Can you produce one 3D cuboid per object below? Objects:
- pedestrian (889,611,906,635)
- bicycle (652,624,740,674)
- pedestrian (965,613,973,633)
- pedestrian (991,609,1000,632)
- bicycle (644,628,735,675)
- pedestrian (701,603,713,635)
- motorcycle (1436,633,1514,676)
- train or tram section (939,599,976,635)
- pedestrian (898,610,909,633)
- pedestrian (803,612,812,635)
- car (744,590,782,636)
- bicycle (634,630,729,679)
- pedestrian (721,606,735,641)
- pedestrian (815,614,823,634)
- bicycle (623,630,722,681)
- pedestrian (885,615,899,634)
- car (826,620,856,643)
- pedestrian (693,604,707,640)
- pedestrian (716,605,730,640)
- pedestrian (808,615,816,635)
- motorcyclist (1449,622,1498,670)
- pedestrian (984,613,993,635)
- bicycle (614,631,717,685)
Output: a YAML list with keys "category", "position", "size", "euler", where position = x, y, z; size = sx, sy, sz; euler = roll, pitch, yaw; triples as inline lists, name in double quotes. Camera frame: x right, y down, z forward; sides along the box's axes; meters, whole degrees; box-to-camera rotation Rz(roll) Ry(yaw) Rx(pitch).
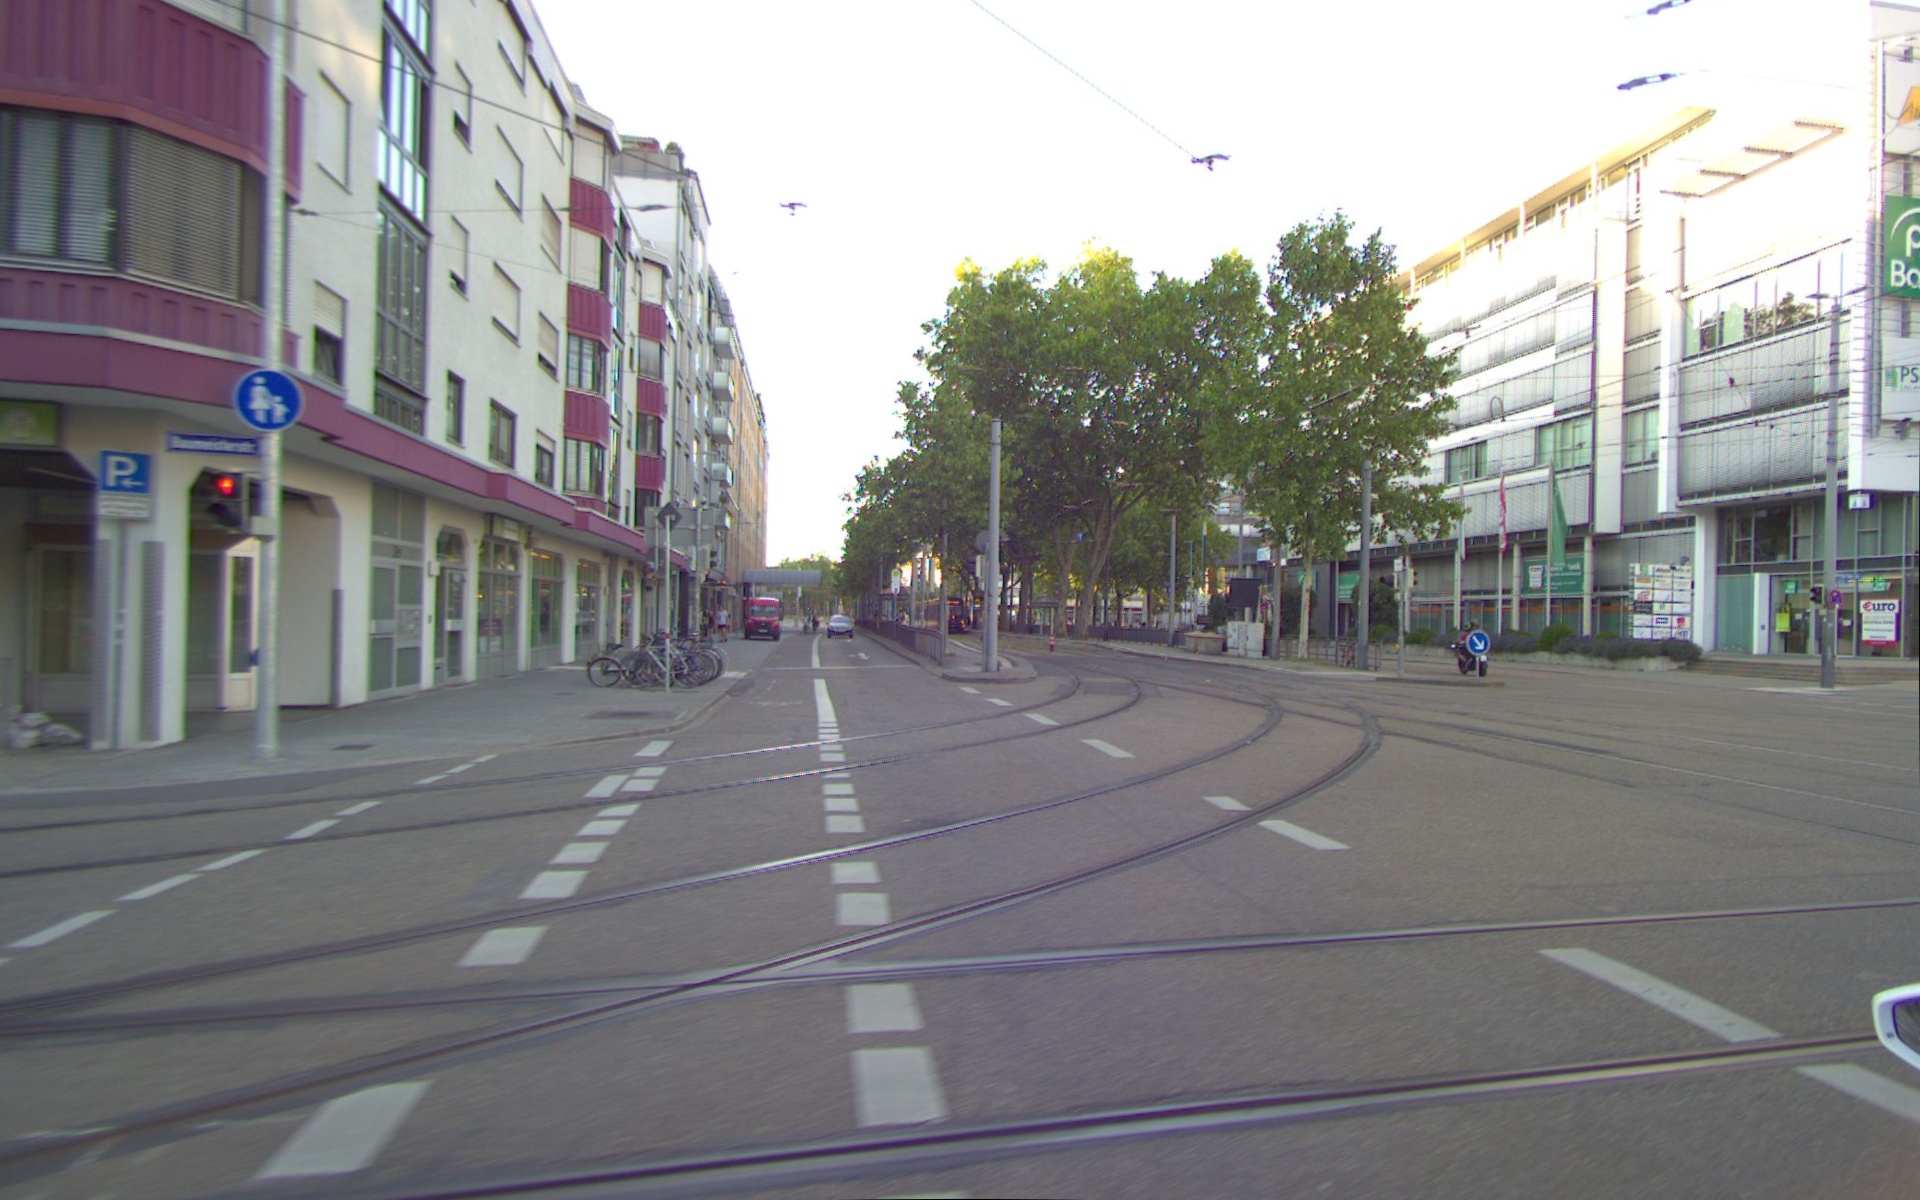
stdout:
- category: "pedestrian"
  position: [-3.524, 1.293, 56.545]
  size: [0.764, 1.310, 0.734]
  euler: [1, -1, 11]
- category: "bicycle"
  position: [-5.890, 1.090, 22.469]
  size: [1.806, 1.075, 0.499]
  euler: [1, -1, -4]
- category: "pedestrian"
  position: [0.878, 2.220, 96.483]
  size: [0.724, 1.924, 0.640]
  euler: [1, -1, -5]
- category: "pedestrian"
  position: [3.124, 1.797, 87.852]
  size: [0.724, 1.924, 0.640]
  euler: [1, -1, -5]
- category: "bicycle"
  position: [-5.848, 1.116, 21.778]
  size: [1.806, 0.970, 0.499]
  euler: [1, -1, -4]
- category: "pedestrian"
  position: [-14.072, 1.059, 55.820]
  size: [0.540, 1.799, 0.652]
  euler: [1, -1, -19]
- category: "motorcycle"
  position: [16.366, 1.719, 31.999]
  size: [0.816, 1.256, 2.485]
  euler: [1, -1, -12]
- category: "train or tram section"
  position: [-0.409, 1.718, 99.249]
  size: [2.996, 3.212, 13.486]
  euler: [1, -1, -3]
- category: "pedestrian"
  position: [-4.253, 1.600, 75.029]
  size: [0.745, 1.700, 0.832]
  euler: [1, -1, -7]
- category: "pedestrian"
  position: [-12.320, 1.892, 80.968]
  size: [0.643, 1.799, 0.547]
  euler: [1, -1, -12]
- category: "car"
  position: [-11.780, 0.772, 60.153]
  size: [2.057, 2.585, 5.439]
  euler: [1, -1, -11]
- category: "bicycle"
  position: [-5.846, 1.138, 21.156]
  size: [1.806, 0.970, 0.596]
  euler: [1, -1, -4]
- category: "pedestrian"
  position: [-12.086, 1.217, 52.279]
  size: [0.643, 1.799, 0.547]
  euler: [1, -1, -12]
- category: "pedestrian"
  position: [-13.034, 2.187, 92.716]
  size: [0.643, 1.799, 0.547]
  euler: [1, -1, -12]
- category: "bicycle"
  position: [-5.799, 1.115, 20.356]
  size: [1.806, 0.970, 0.674]
  euler: [1, -1, -4]
- category: "pedestrian"
  position: [-4.629, 1.659, 68.050]
  size: [0.764, 1.310, 0.734]
  euler: [1, -1, 11]
- category: "car"
  position: [-8.139, 2.154, 68.623]
  size: [1.754, 1.476, 3.992]
  euler: [1, -1, -11]
- category: "pedestrian"
  position: [-13.219, 1.123, 51.100]
  size: [0.643, 1.799, 0.547]
  euler: [1, -1, -12]
- category: "pedestrian"
  position: [-12.030, 1.139, 51.053]
  size: [0.643, 1.799, 0.547]
  euler: [1, -1, -12]
- category: "pedestrian"
  position: [-13.185, 2.202, 89.391]
  size: [0.643, 1.799, 0.547]
  euler: [1, -1, -12]
- category: "motorcyclist"
  position: [16.368, 1.460, 32.020]
  size: [0.816, 1.493, 1.204]
  euler: [1, -1, -12]
- category: "pedestrian"
  position: [2.589, 2.142, 90.746]
  size: [0.724, 1.924, 0.640]
  euler: [1, -1, -5]
- category: "bicycle"
  position: [-5.707, 1.122, 19.543]
  size: [1.806, 0.970, 0.674]
  euler: [1, -1, -4]
